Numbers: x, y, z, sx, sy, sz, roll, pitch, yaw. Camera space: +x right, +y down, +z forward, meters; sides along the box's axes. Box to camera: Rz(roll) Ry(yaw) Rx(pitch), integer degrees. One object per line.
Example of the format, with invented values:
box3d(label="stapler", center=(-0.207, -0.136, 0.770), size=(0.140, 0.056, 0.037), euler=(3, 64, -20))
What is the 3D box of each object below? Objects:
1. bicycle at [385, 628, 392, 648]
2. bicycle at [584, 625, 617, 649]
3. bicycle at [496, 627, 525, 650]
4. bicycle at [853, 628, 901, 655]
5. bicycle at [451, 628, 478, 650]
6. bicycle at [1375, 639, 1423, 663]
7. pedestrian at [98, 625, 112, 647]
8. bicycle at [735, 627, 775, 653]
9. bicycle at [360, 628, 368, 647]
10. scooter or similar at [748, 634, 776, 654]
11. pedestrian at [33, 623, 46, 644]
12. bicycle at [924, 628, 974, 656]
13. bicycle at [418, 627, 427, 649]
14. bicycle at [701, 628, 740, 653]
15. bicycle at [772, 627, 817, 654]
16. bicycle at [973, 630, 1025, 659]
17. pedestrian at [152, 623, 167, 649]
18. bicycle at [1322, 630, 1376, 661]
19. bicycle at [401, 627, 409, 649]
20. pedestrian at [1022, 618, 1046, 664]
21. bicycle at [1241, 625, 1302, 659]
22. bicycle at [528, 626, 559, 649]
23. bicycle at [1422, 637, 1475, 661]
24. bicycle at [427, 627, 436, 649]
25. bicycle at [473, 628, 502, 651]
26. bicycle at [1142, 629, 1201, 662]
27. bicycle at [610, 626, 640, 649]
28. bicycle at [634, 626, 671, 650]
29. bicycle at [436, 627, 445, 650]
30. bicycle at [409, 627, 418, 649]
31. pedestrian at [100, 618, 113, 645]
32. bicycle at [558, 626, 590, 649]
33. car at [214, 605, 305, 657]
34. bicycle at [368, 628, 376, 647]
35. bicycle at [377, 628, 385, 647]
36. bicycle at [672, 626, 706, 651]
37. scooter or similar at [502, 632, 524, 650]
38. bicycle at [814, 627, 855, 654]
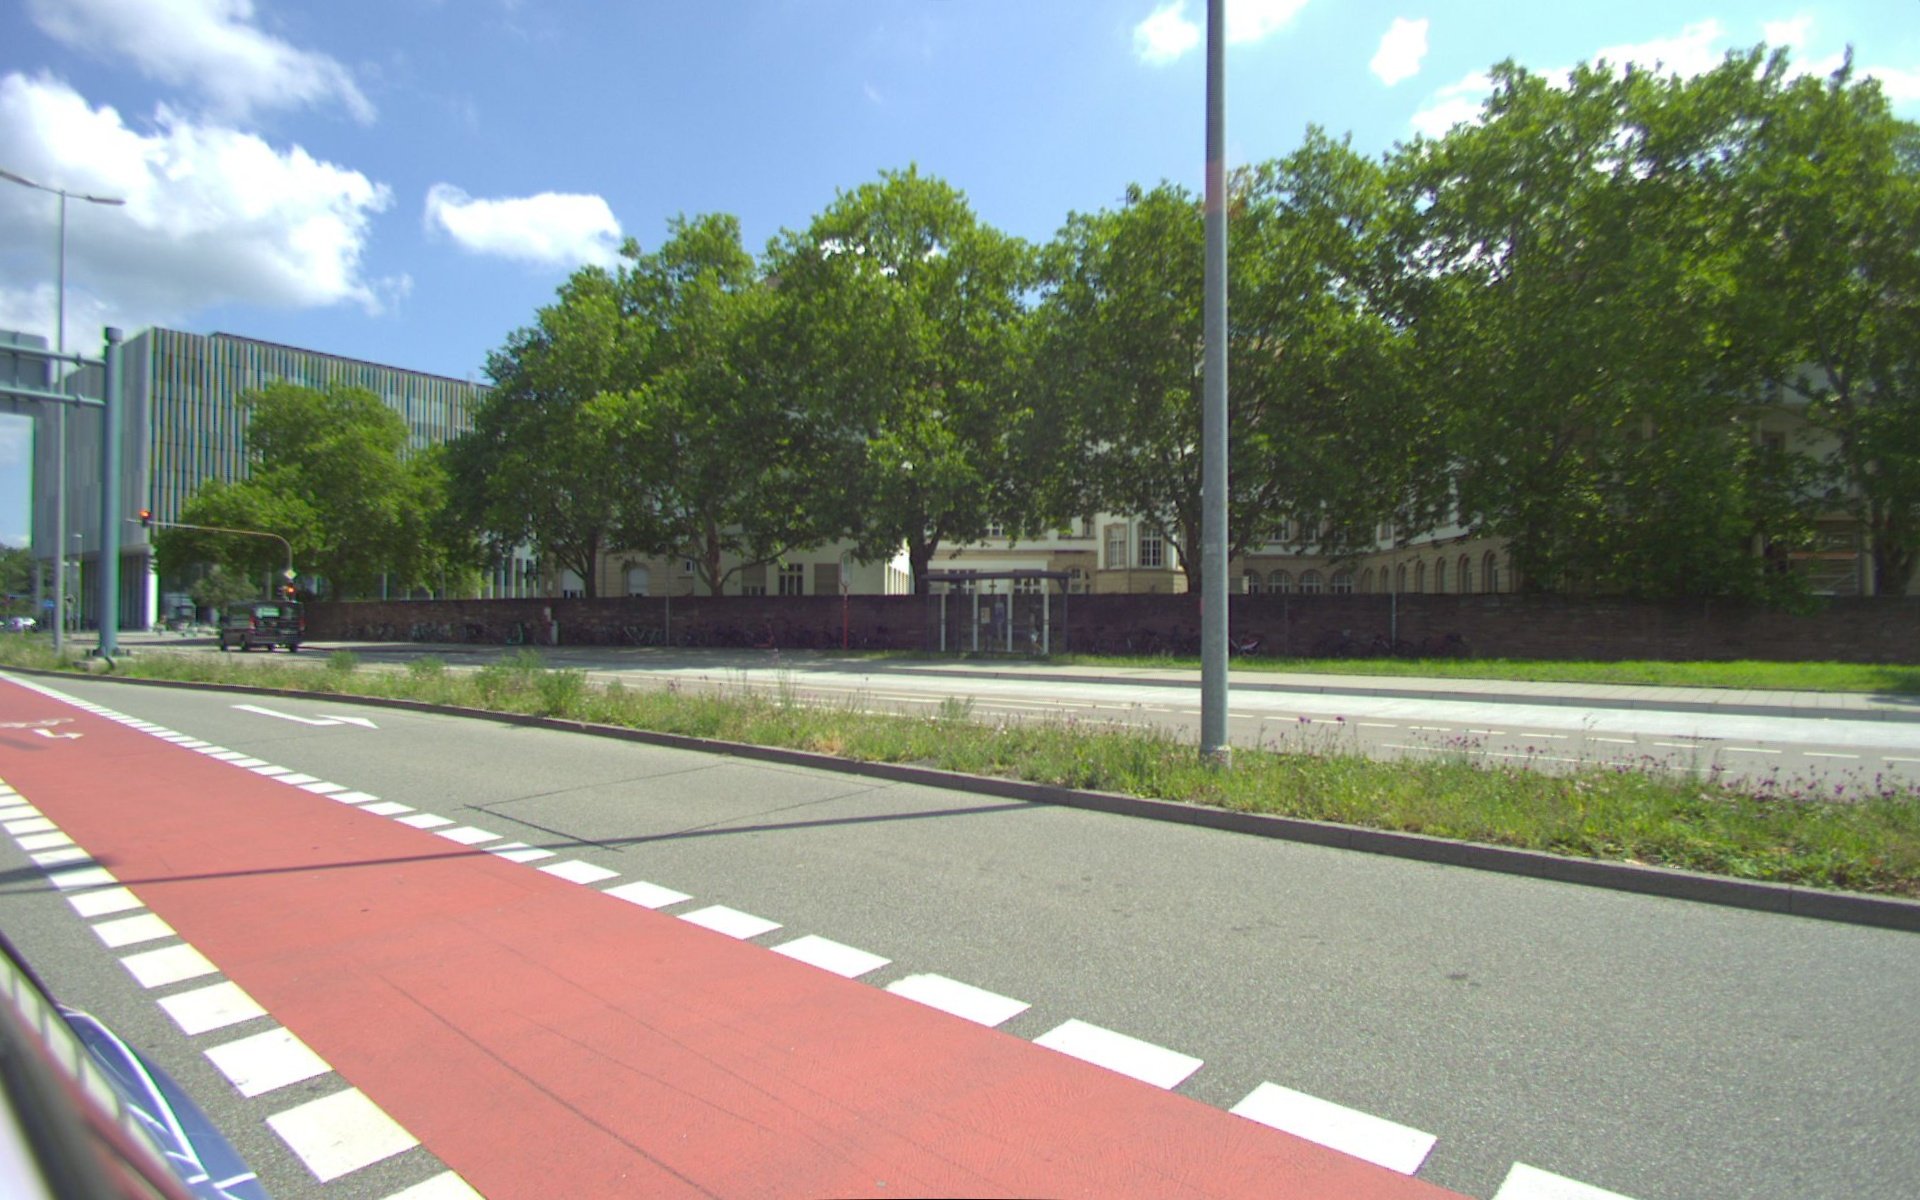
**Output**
box3d(label="bicycle", center=(-30.882, 2.043, 54.685), size=(0.324, 1.025, 1.675), euler=(1, -2, -28))
box3d(label="bicycle", center=(-16.397, 1.687, 46.125), size=(1.662, 1.051, 0.379), euler=(-1, -2, 28))
box3d(label="bicycle", center=(-21.871, 1.875, 49.248), size=(1.662, 1.116, 0.379), euler=(-1, -2, 28))
box3d(label="bicycle", center=(-3.276, 1.634, 39.948), size=(1.944, 1.051, 0.395), euler=(0, -2, 21))
box3d(label="bicycle", center=(-25.048, 1.974, 51.183), size=(1.664, 1.116, 0.378), euler=(-1, -2, 32))
box3d(label="bicycle", center=(14.759, 1.718, 34.044), size=(1.452, 0.795, 0.396), euler=(0, -1, 14))
box3d(label="pedestrian", center=(-76.724, 3.228, 90.825), size=(0.806, 1.931, 0.816), euler=(0, 0, 35))
box3d(label="bicycle", center=(-8.531, 1.666, 42.164), size=(1.751, 1.051, 0.394), euler=(0, -2, 25))
box3d(label="bicycle", center=(-32.924, 2.062, 55.936), size=(0.324, 1.025, 1.675), euler=(1, -2, -28))
box3d(label="scooter or similar", center=(-8.074, 1.773, 41.246), size=(1.060, 0.800, 0.351), euler=(0, -1, 16))
box3d(label="pedestrian", center=(-83.838, 3.040, 92.143), size=(0.806, 1.931, 0.707), euler=(0, 0, 35))
box3d(label="bicycle", center=(-0.425, 1.613, 38.702), size=(1.944, 1.051, 0.395), euler=(0, -2, 21))
box3d(label="bicycle", center=(-28.084, 1.976, 52.841), size=(0.376, 1.116, 1.675), euler=(1, -2, -28))
box3d(label="bicycle", center=(-10.160, 1.716, 42.961), size=(1.752, 1.011, 0.394), euler=(-1, -2, 27))
box3d(label="bicycle", center=(-6.767, 1.643, 41.350), size=(1.946, 1.051, 0.395), euler=(0, -2, 24))
box3d(label="bicycle", center=(1.447, 1.646, 37.939), size=(1.944, 1.051, 0.395), euler=(0, -2, 21))
box3d(label="pedestrian", center=(-59.837, 2.663, 75.672), size=(0.806, 1.931, 0.707), euler=(0, 0, 35))
box3d(label="bicycle", center=(13.214, 1.553, 34.413), size=(1.671, 1.038, 0.396), euler=(0, -1, 14))
box3d(label="bicycle", center=(-29.271, 1.981, 53.372), size=(0.376, 1.116, 1.675), euler=(1, -2, -28))
box3d(label="pedestrian", center=(2.643, 1.440, 36.090), size=(0.773, 1.623, 0.720), euler=(0, -1, 11))
box3d(label="bicycle", center=(10.797, 1.460, 35.099), size=(2.021, 1.146, 0.396), euler=(0, -1, 17))
box3d(label="bicycle", center=(-19.698, 1.756, 47.816), size=(1.662, 1.051, 0.379), euler=(-1, -2, 28))
box3d(label="bicycle", center=(16.242, 1.619, 33.660), size=(1.529, 0.795, 0.396), euler=(0, -1, 14))
box3d(label="bicycle", center=(-27.363, 1.971, 52.362), size=(0.376, 1.116, 1.675), euler=(1, -2, -28))
box3d(label="bicycle", center=(-23.369, 1.923, 50.041), size=(1.663, 1.116, 0.379), euler=(-1, -2, 30))
box3d(label="bicycle", center=(7.536, 1.609, 36.034), size=(2.021, 1.146, 0.396), euler=(0, -1, 17))
box3d(label="bicycle", center=(-15.009, 1.679, 45.379), size=(1.409, 1.051, 0.374), euler=(-1, -2, 27))
box3d(label="bicycle", center=(-13.568, 1.673, 44.653), size=(1.752, 1.051, 0.394), euler=(-1, -2, 27))
box3d(label="bicycle", center=(-26.700, 1.968, 51.977), size=(0.376, 1.116, 1.675), euler=(1, -2, -28))
box3d(label="bicycle", center=(-28.773, 1.979, 53.286), size=(0.376, 1.116, 1.675), euler=(1, -2, -28))
box3d(label="pedestrian", center=(-63.662, 2.333, 75.467), size=(0.717, 1.932, 0.624), euler=(0, 0, 37))
box3d(label="bicycle", center=(-17.926, 1.726, 46.974), size=(1.662, 1.051, 0.379), euler=(-1, -2, 28))
box3d(label="car", center=(-30.595, 1.367, 44.185), size=(4.518, 2.188, 2.185), euler=(-1, -3, 41))
box3d(label="bicycle", center=(-32.283, 2.057, 55.564), size=(0.324, 1.025, 1.675), euler=(1, -2, -28))
box3d(label="bicycle", center=(-31.492, 2.051, 55.065), size=(0.324, 1.025, 1.675), euler=(1, -2, -28))
box3d(label="bicycle", center=(-11.706, 1.671, 43.736), size=(1.575, 1.051, 0.394), euler=(-1, -2, 27))
box3d(label="scooter or similar", center=(-21.244, 1.950, 48.072), size=(1.064, 0.850, 0.350), euler=(-1, -2, 28))
box3d(label="bicycle", center=(-5.034, 1.609, 40.650), size=(1.628, 1.051, 0.395), euler=(0, -2, 21))
